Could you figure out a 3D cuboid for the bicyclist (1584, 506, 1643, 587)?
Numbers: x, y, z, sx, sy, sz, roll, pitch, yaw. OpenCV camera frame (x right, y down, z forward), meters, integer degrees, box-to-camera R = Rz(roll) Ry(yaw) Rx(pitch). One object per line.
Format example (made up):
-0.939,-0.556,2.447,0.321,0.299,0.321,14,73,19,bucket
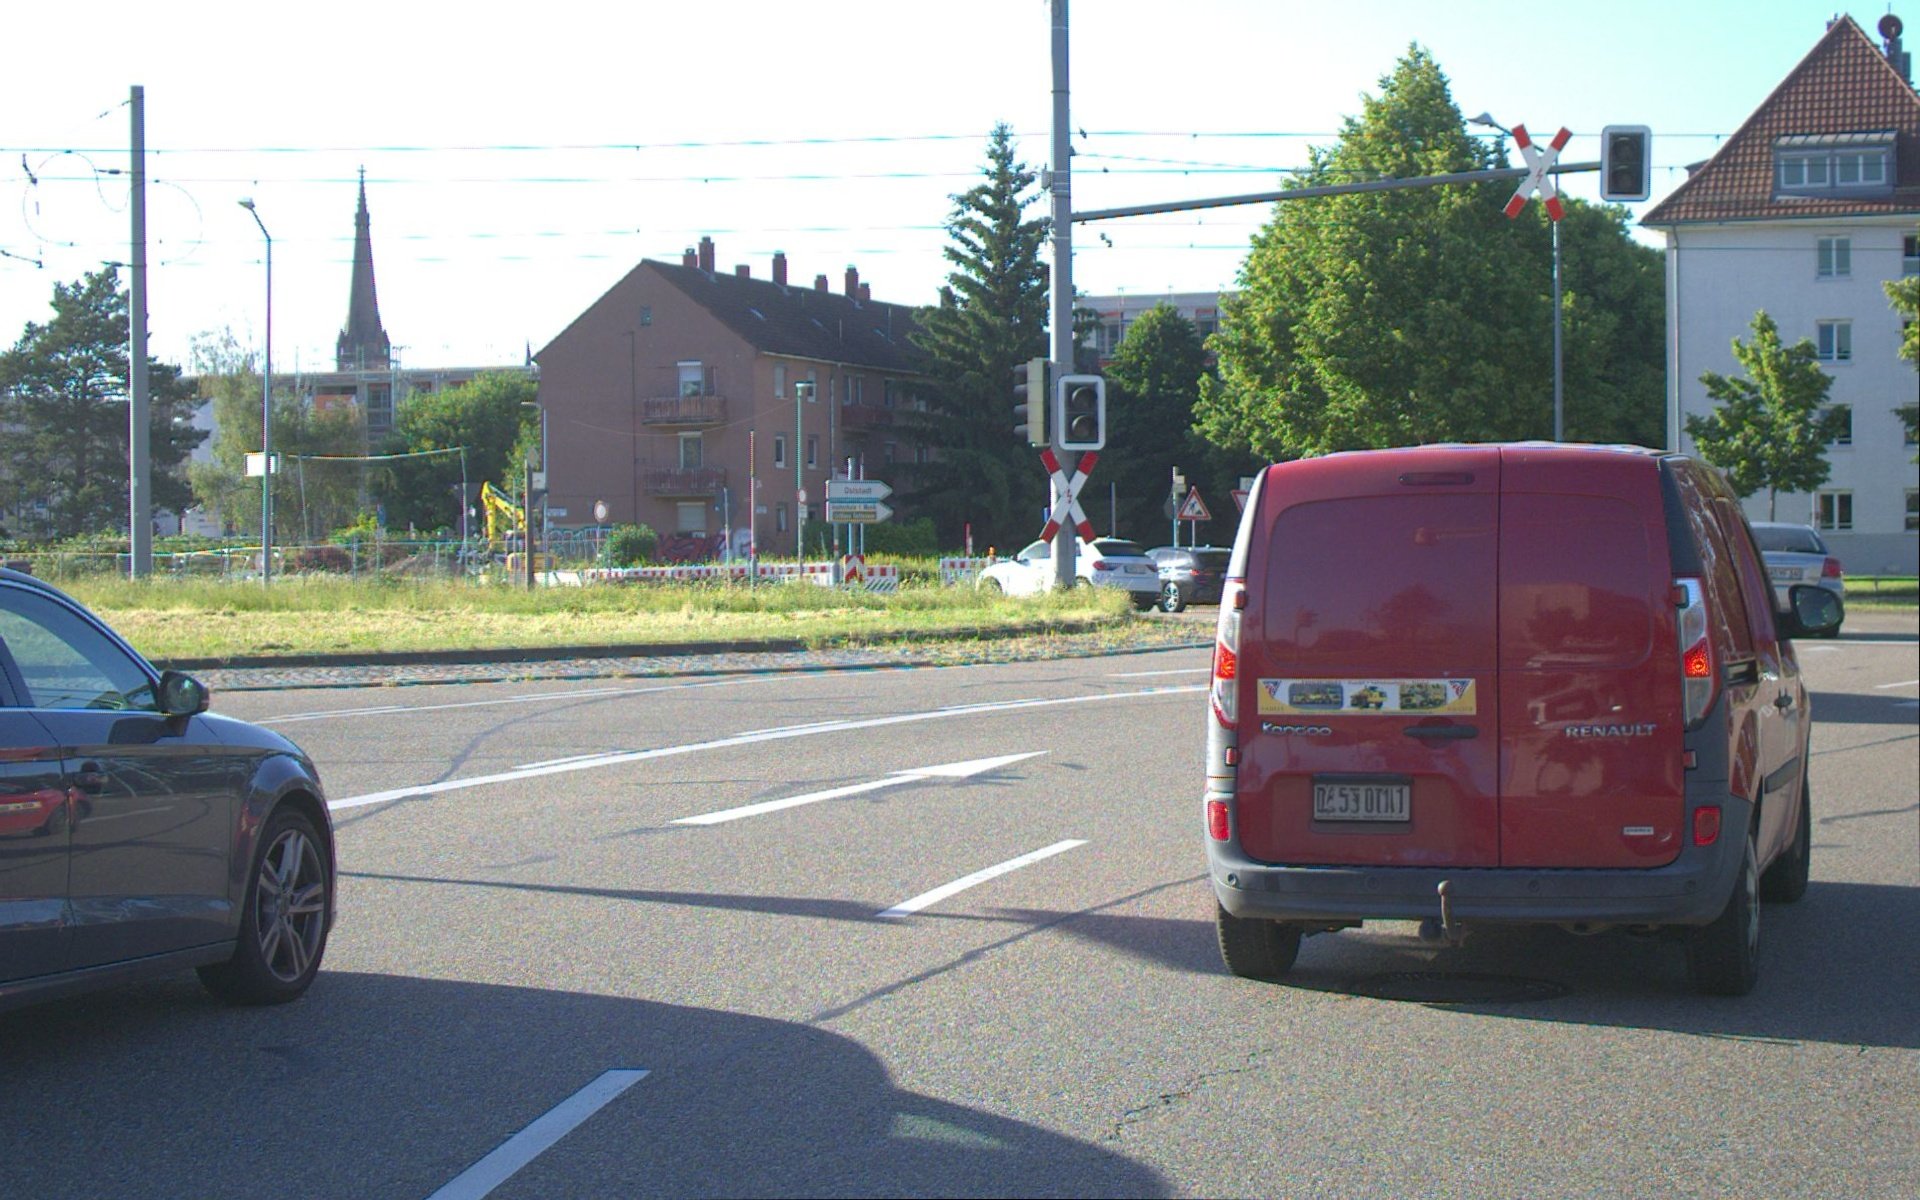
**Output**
15.080,-1.228,79.306,0.810,1.846,1.026,1,0,-35,bicyclist

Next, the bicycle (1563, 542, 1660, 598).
15.032,-0.703,79.371,0.816,1.261,2.209,1,0,-36,bicycle

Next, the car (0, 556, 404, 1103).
-3.168,0.571,9.370,1.761,1.375,4.356,0,1,13,car

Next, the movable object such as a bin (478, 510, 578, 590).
-15.467,-1.770,122.900,2.418,2.764,4.001,1,0,-25,movable object such as a bin

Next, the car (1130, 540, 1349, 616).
5.867,-0.491,72.516,1.995,1.534,4.406,-2,2,-44,car

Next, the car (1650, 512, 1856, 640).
10.239,-0.349,44.696,1.994,1.569,4.408,0,2,5,car

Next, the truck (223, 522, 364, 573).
-26.986,-2.127,139.135,6.431,2.007,2.166,1,0,42,truck

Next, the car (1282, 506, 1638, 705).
4.091,0.027,27.642,1.805,1.456,3.804,2,1,25,car

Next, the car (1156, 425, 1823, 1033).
2.054,0.326,12.373,1.804,1.807,3.806,1,2,17,car

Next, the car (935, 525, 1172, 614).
1.757,-0.614,65.648,1.995,1.633,4.406,-2,2,-44,car
